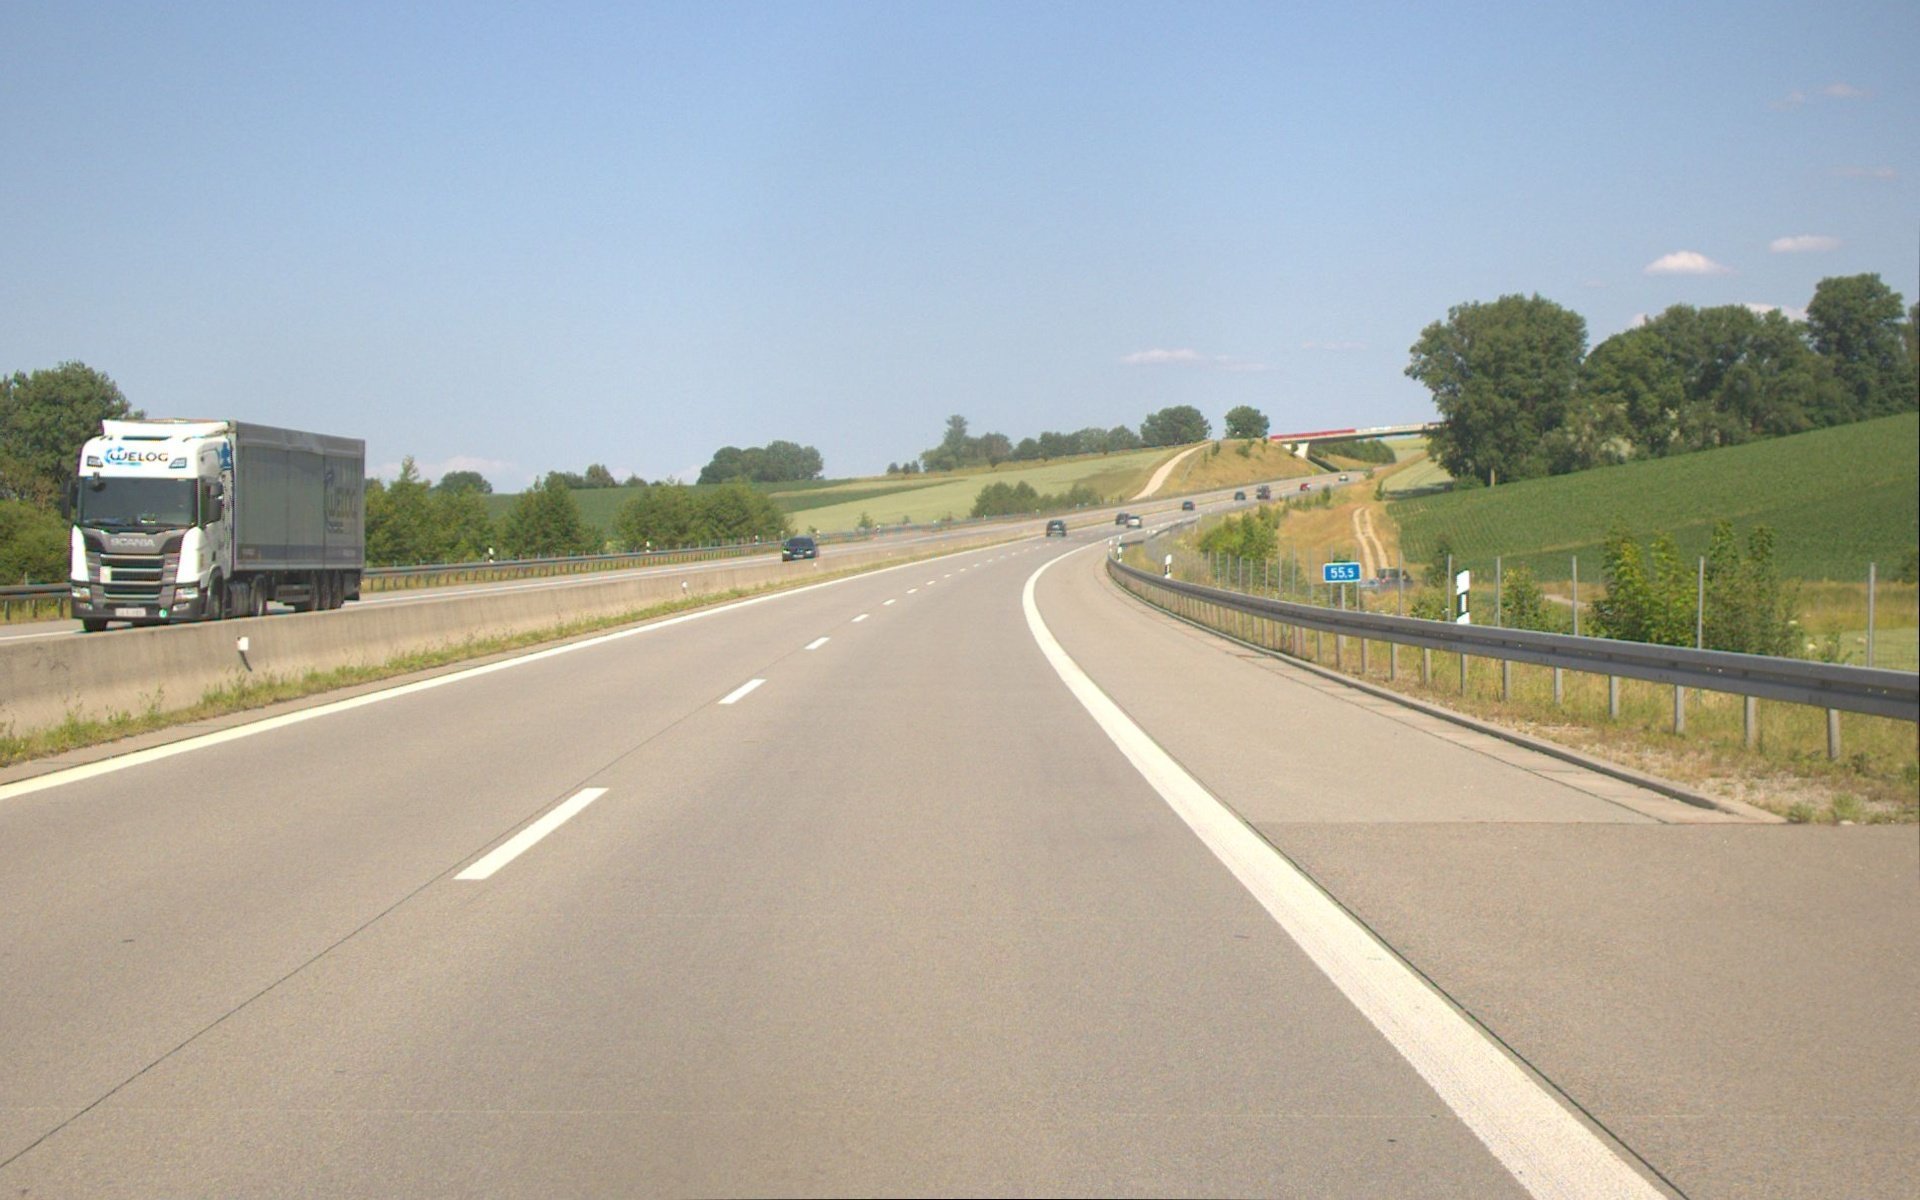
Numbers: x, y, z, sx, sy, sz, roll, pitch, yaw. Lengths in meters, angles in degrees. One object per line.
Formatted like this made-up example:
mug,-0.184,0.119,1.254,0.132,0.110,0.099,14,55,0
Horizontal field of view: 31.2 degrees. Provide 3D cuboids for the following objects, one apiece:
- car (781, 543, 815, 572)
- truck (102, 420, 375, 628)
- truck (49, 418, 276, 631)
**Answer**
car,-9.120,-2.389,193.789,1.710,1.584,4.627,1,0,0
truck,-15.125,-1.557,73.391,2.859,3.994,13.869,-1,1,0
truck,-15.131,-1.410,65.670,2.861,3.860,5.983,-1,1,0
